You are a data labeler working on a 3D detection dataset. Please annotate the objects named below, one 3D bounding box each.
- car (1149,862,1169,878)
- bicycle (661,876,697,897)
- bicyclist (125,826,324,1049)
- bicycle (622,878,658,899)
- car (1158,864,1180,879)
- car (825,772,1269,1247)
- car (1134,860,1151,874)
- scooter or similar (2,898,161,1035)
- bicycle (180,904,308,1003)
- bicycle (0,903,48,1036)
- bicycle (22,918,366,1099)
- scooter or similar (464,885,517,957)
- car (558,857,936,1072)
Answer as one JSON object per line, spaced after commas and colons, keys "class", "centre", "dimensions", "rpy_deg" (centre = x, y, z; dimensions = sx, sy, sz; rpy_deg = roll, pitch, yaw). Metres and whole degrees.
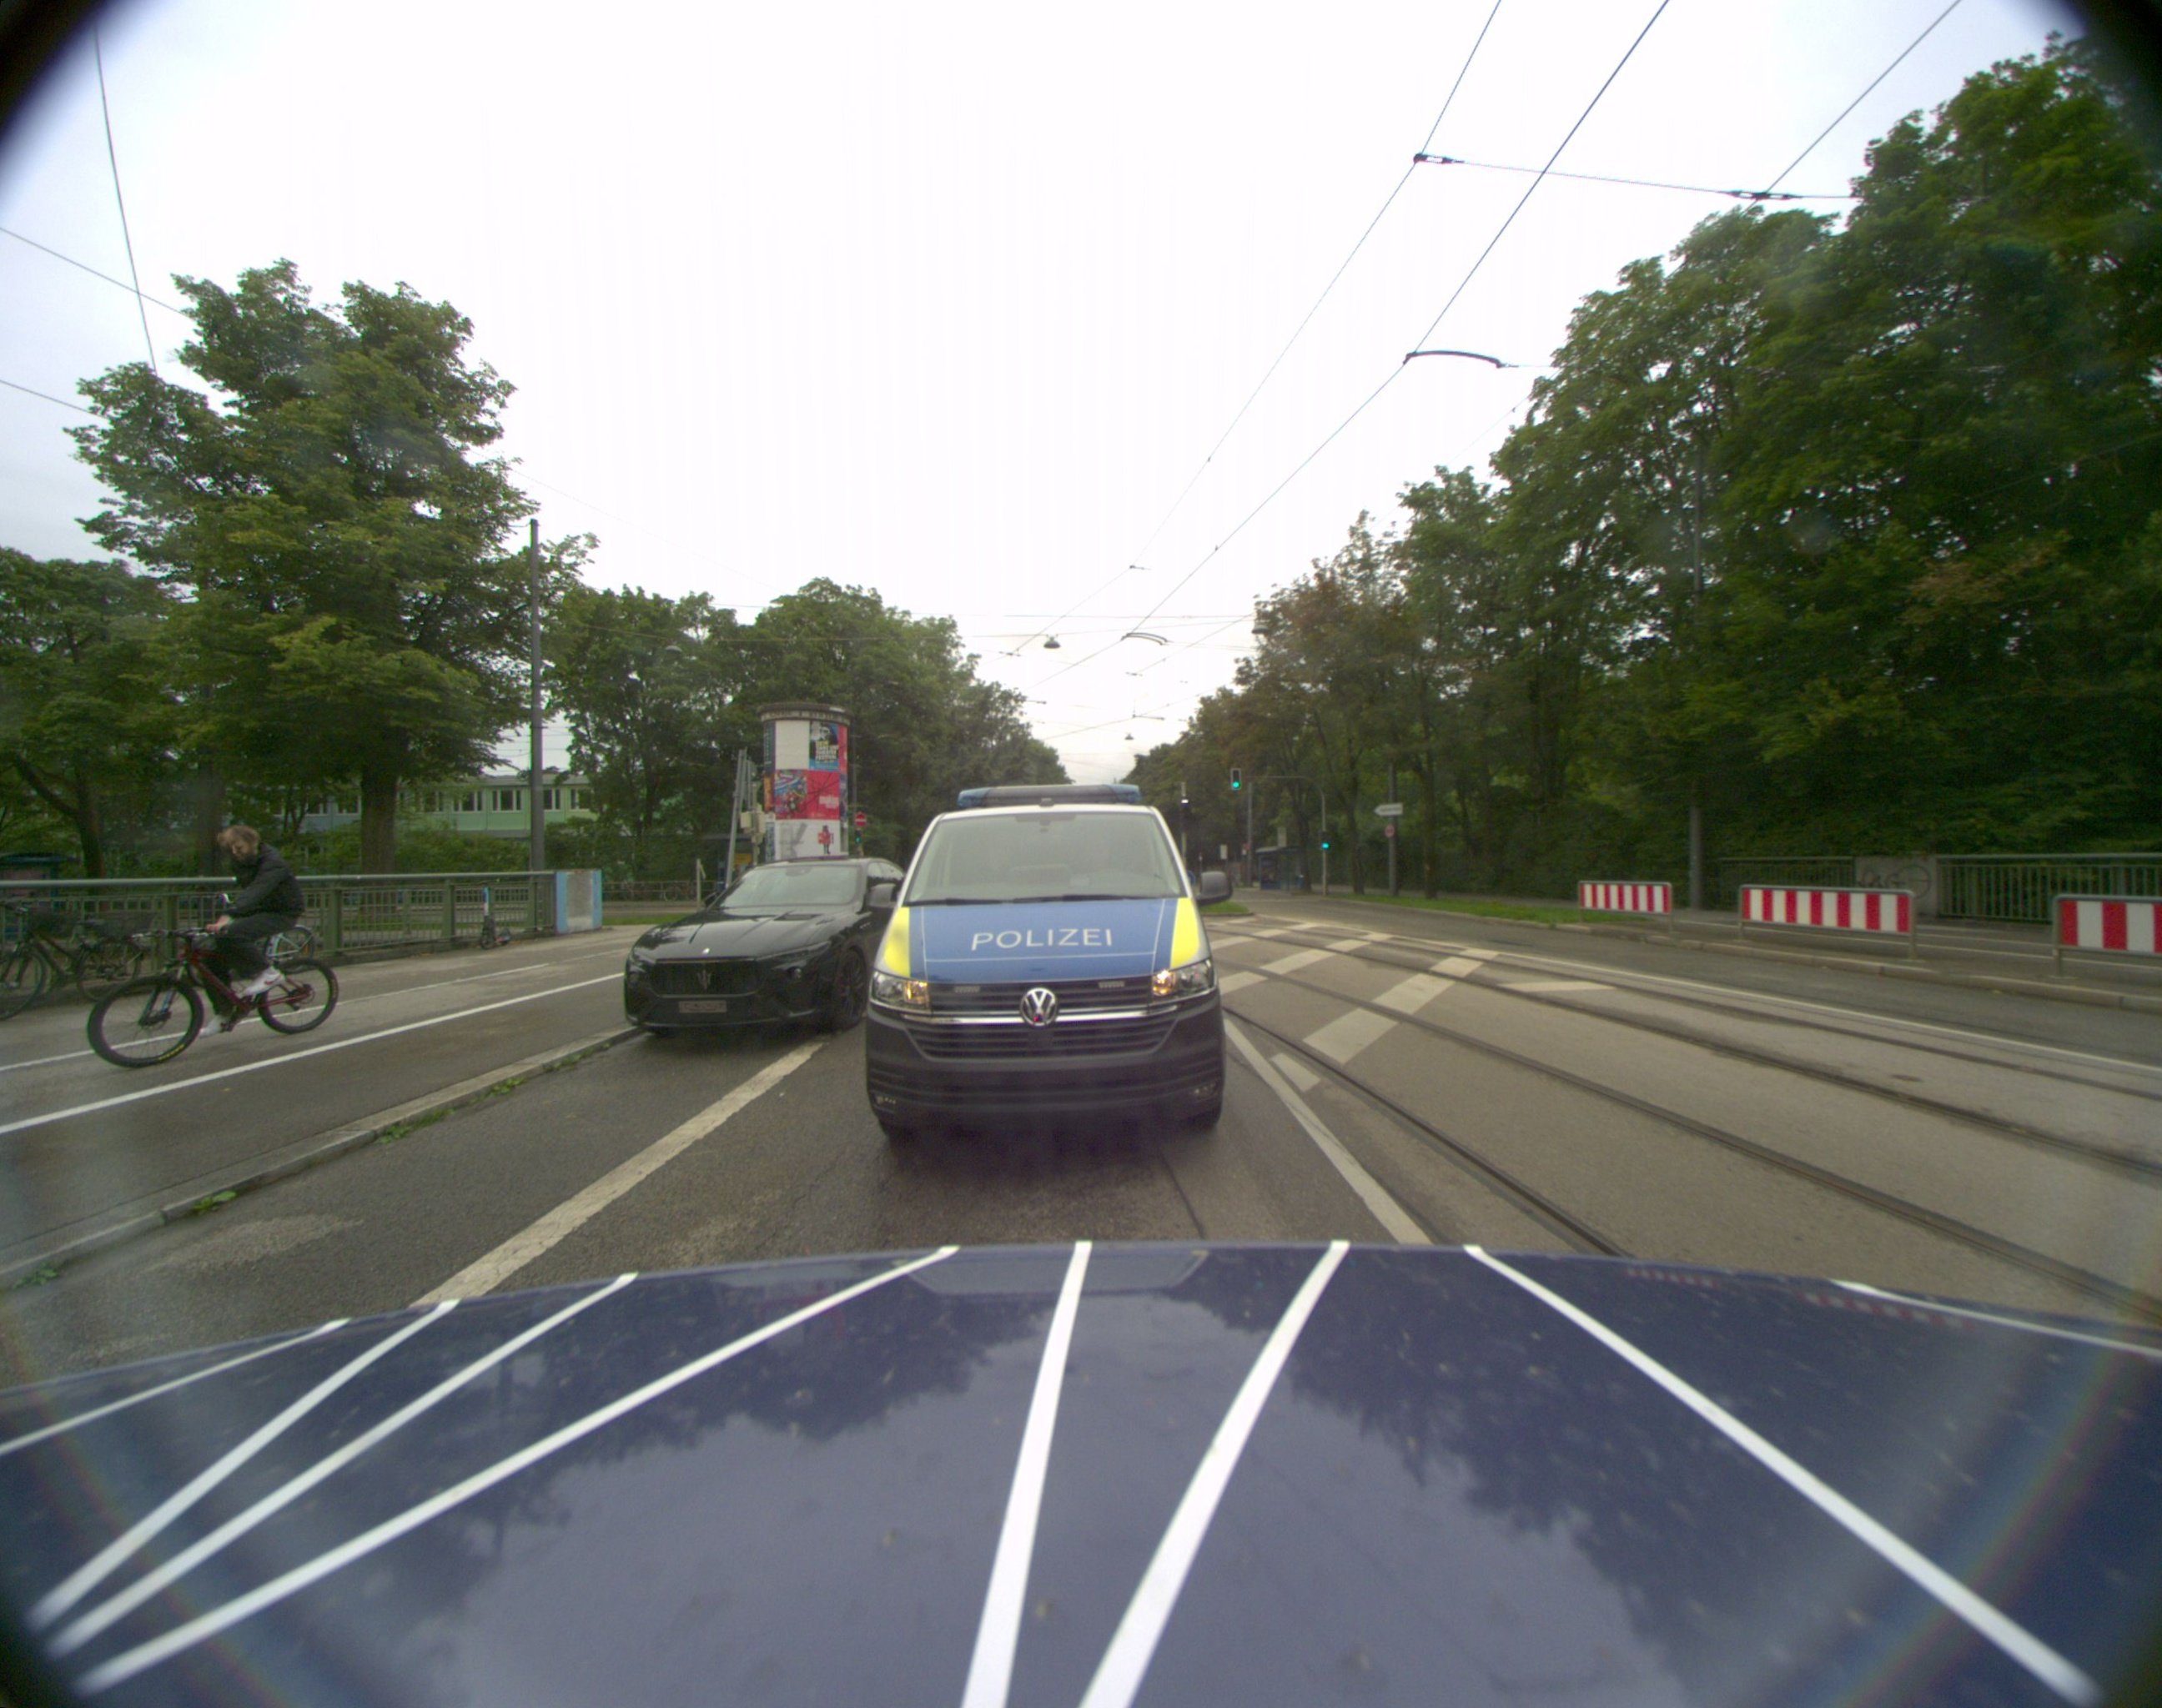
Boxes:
{"class": "car", "centre": [9.326, 1.882, 91.082], "dimensions": [1.888, 1.716, 3.999], "rpy_deg": [-3, 0, -1]}
{"class": "bicycle", "centre": [-18.789, 1.530, 35.530], "dimensions": [1.483, 0.946, 0.373], "rpy_deg": [-1, 1, 3]}
{"class": "bicyclist", "centre": [-7.058, 0.654, 6.303], "dimensions": [0.726, 1.719, 0.726], "rpy_deg": [-3, 1, 0]}
{"class": "bicycle", "centre": [-20.746, 1.632, 35.738], "dimensions": [1.483, 0.946, 0.373], "rpy_deg": [-1, 1, 3]}
{"class": "car", "centre": [9.925, 1.989, 85.624], "dimensions": [1.888, 1.531, 3.999], "rpy_deg": [-3, 0, -1]}
{"class": "car", "centre": [-0.188, 0.670, 6.157], "dimensions": [1.903, 2.041, 5.708], "rpy_deg": [-1, 0, -1]}
{"class": "car", "centre": [8.594, 1.821, 105.745], "dimensions": [1.888, 1.716, 3.999], "rpy_deg": [-3, 0, -1]}
{"class": "scooter or similar", "centre": [-10.594, 1.139, 8.113], "dimensions": [0.245, 1.255, 1.493], "rpy_deg": [-3, 0, -22]}
{"class": "bicycle", "centre": [-10.747, 1.237, 9.815], "dimensions": [0.265, 1.076, 1.540], "rpy_deg": [-3, 0, -14]}
{"class": "bicycle", "centre": [-10.597, 1.141, 7.121], "dimensions": [0.283, 1.274, 1.408], "rpy_deg": [-3, 0, -19]}
{"class": "bicycle", "centre": [-7.024, 1.148, 6.201], "dimensions": [0.580, 1.072, 1.912], "rpy_deg": [1, 0, 0]}
{"class": "scooter or similar", "centre": [-10.635, 1.177, 13.712], "dimensions": [0.225, 1.205, 1.020], "rpy_deg": [-3, 1, -8]}
{"class": "car", "centre": [-3.063, 0.890, 8.274], "dimensions": [1.905, 1.600, 4.665], "rpy_deg": [-3, -1, 1]}
